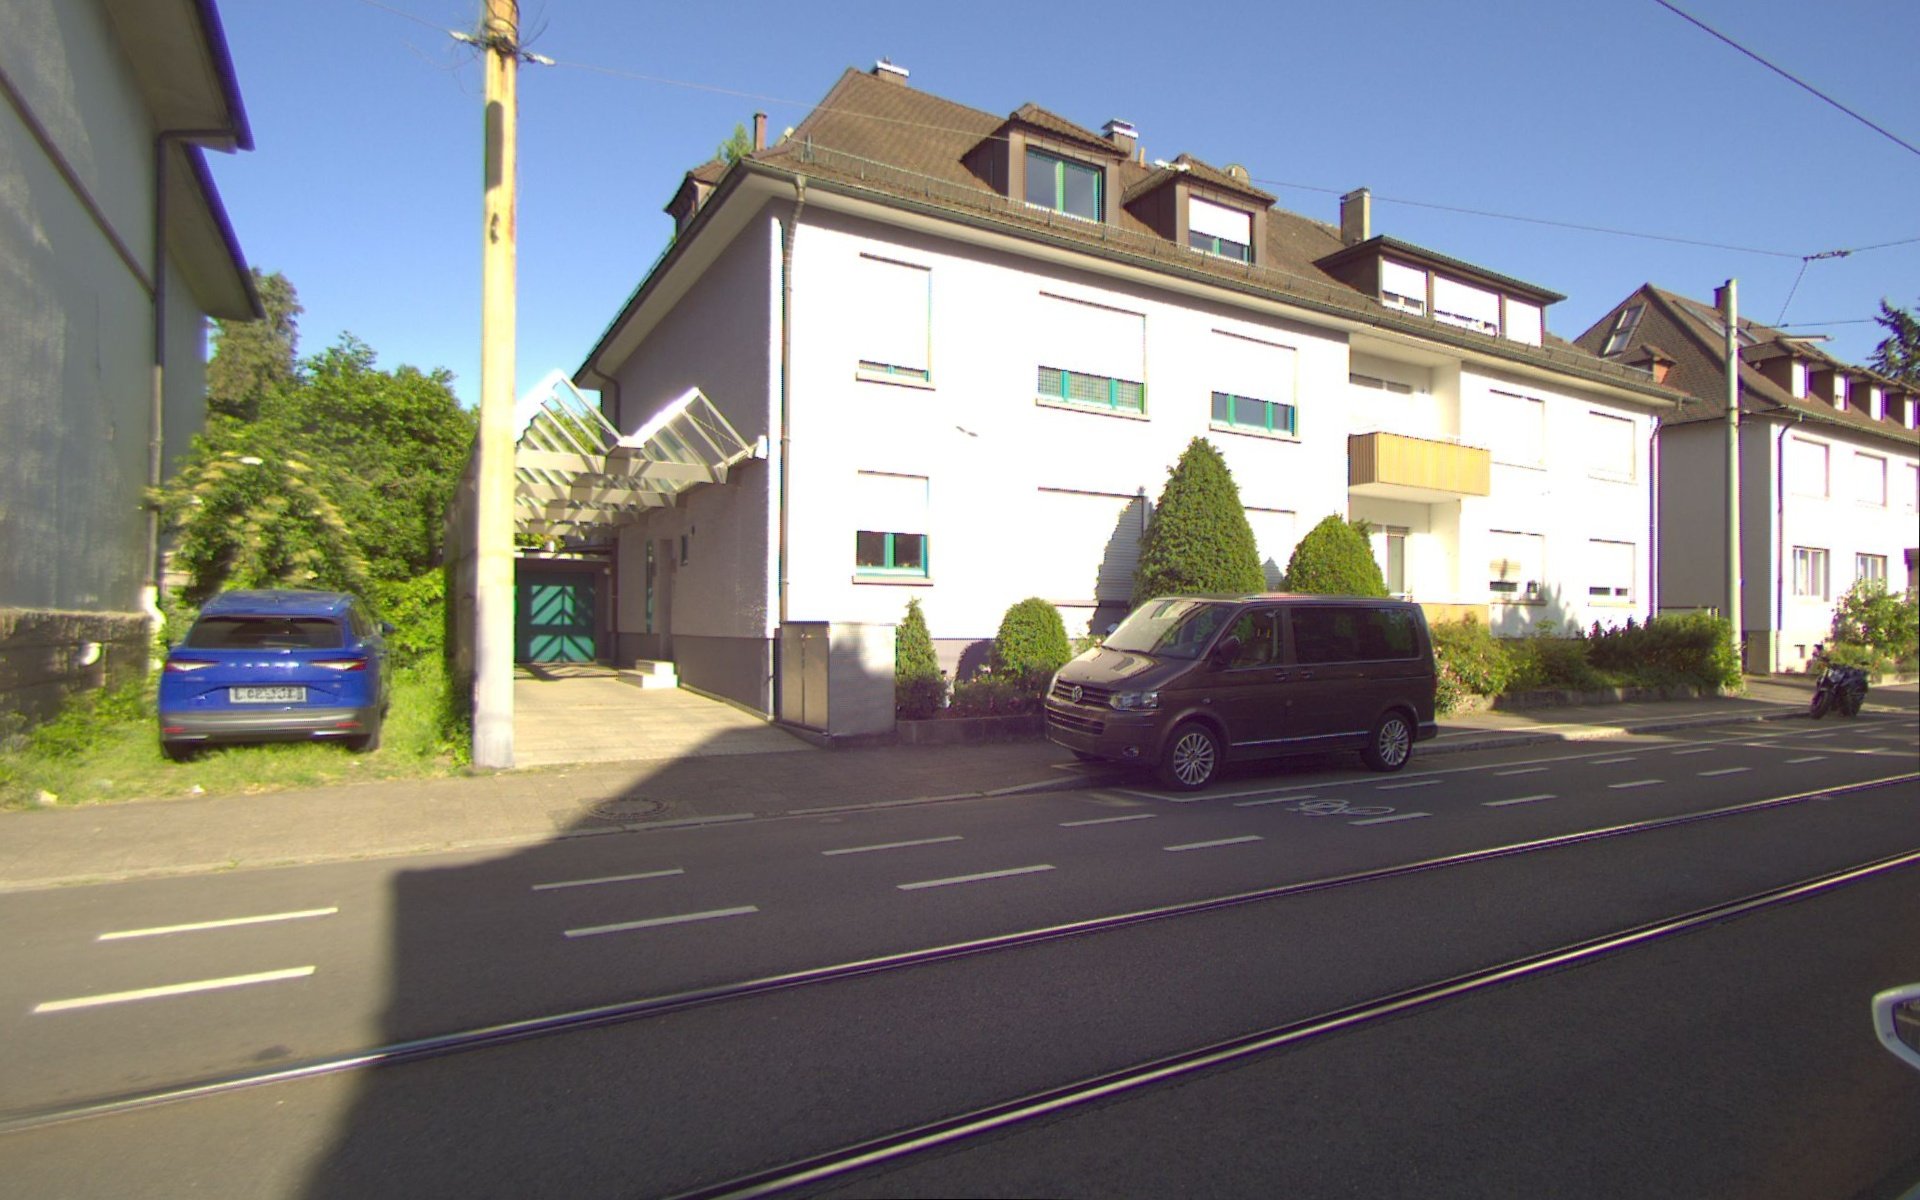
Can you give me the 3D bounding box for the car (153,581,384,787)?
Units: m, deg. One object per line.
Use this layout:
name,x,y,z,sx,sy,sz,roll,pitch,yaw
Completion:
car,-7.369,0.803,10.994,1.735,1.807,3.905,1,-2,-31

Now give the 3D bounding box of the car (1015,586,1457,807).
car,3.190,0.920,11.318,4.889,2.041,1.897,1,0,-29

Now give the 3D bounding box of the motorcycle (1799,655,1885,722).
motorcycle,16.598,1.640,18.879,2.146,1.177,0.534,1,-3,-30
